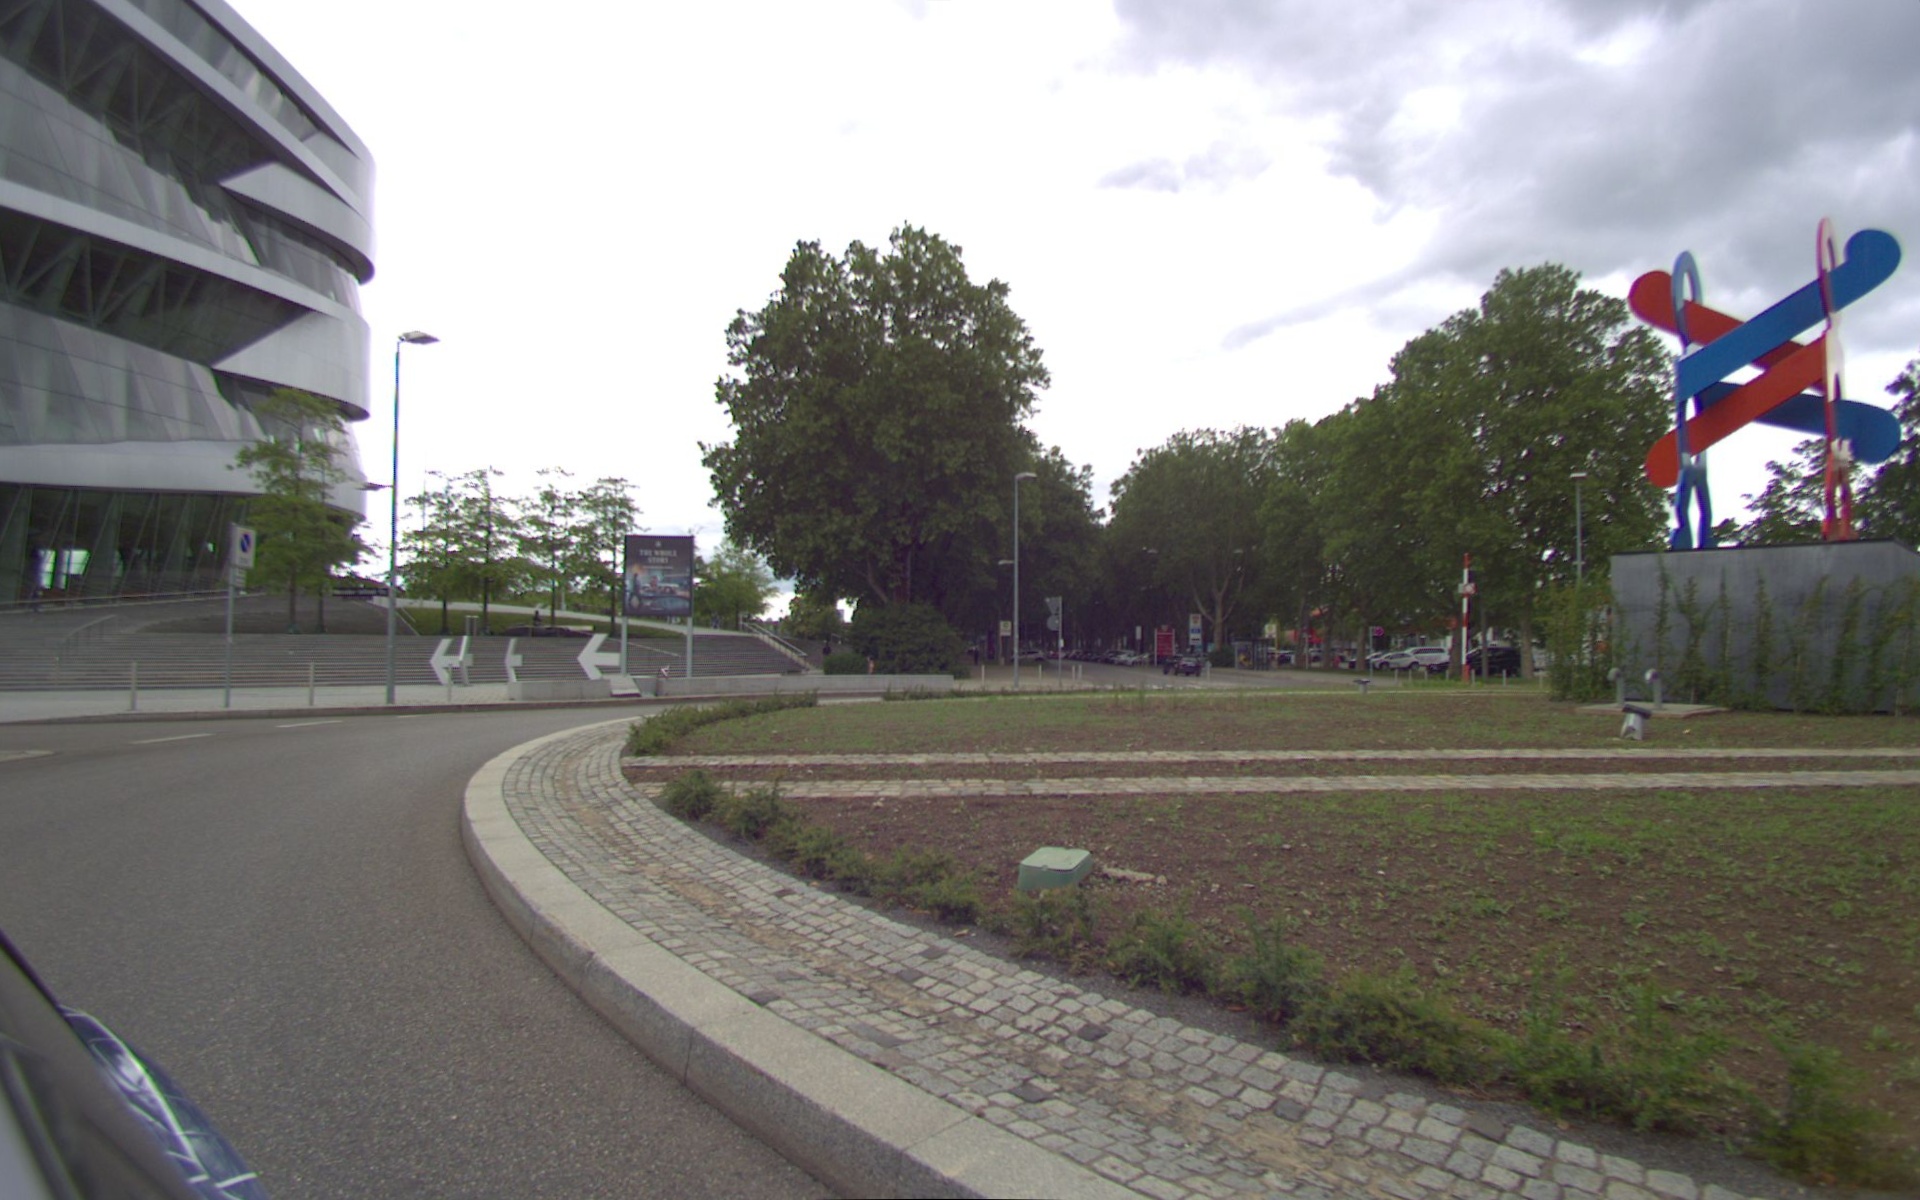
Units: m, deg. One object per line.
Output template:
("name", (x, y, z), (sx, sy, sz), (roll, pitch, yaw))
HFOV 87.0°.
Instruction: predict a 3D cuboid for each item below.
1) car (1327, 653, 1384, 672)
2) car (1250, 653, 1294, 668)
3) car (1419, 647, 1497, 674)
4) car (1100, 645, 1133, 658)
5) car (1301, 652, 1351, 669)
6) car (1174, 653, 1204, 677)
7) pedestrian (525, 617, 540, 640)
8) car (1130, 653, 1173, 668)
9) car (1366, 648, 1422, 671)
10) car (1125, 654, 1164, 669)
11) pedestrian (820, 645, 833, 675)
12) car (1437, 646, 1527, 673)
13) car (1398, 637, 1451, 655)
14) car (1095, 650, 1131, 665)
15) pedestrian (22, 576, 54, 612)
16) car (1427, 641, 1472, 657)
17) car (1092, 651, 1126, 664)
("car", (32.454, 5.109, 83.091), (3.959, 1.530, 1.867), (-1, -4, 7))
("car", (31.843, 6.198, 103.338), (3.962, 1.530, 1.866), (-1, -4, 9))
("car", (33.693, 4.096, 68.544), (4.229, 1.741, 2.012), (0, -4, -1))
("car", (19.284, 6.358, 124.764), (3.960, 1.530, 1.867), (0, -2, 8))
("car", (33.793, 5.617, 93.592), (3.960, 1.530, 1.867), (-1, -4, 8))
("car", (15.597, 4.453, 68.981), (1.777, 1.576, 4.711), (-1, -4, 11))
("pedestrian", (-26.549, 1.789, 62.825), (0.777, 1.398, 0.685), (2, -4, -30))
("car", (19.486, 6.158, 102.958), (4.128, 1.530, 1.867), (-1, -4, 8))
("car", (34.584, 4.776, 80.678), (3.667, 1.791, 1.666), (-1, -4, 8))
("car", (19.266, 6.439, 105.755), (3.960, 1.530, 1.867), (-1, -4, 8))
("pedestrian", (-8.006, 3.608, 60.696), (0.586, 1.775, 0.555), (3, -5, -44))
("car", (34.090, 3.895, 66.151), (4.743, 1.741, 2.012), (0, -4, -1))
("car", (46.070, 4.559, 100.370), (4.372, 1.664, 1.797), (0, -4, -2))
("car", (16.906, 6.409, 112.031), (3.960, 1.623, 1.863), (-1, -4, 8))
("pedestrian", (-50.915, -0.333, 55.882), (0.842, 1.939, 0.951), (-1, 1, 4))
("car", (53.051, 5.357, 109.667), (3.899, 1.664, 1.797), (0, -4, -2))
("car", (17.867, 6.879, 121.667), (3.960, 1.530, 1.867), (-1, -4, 8))
